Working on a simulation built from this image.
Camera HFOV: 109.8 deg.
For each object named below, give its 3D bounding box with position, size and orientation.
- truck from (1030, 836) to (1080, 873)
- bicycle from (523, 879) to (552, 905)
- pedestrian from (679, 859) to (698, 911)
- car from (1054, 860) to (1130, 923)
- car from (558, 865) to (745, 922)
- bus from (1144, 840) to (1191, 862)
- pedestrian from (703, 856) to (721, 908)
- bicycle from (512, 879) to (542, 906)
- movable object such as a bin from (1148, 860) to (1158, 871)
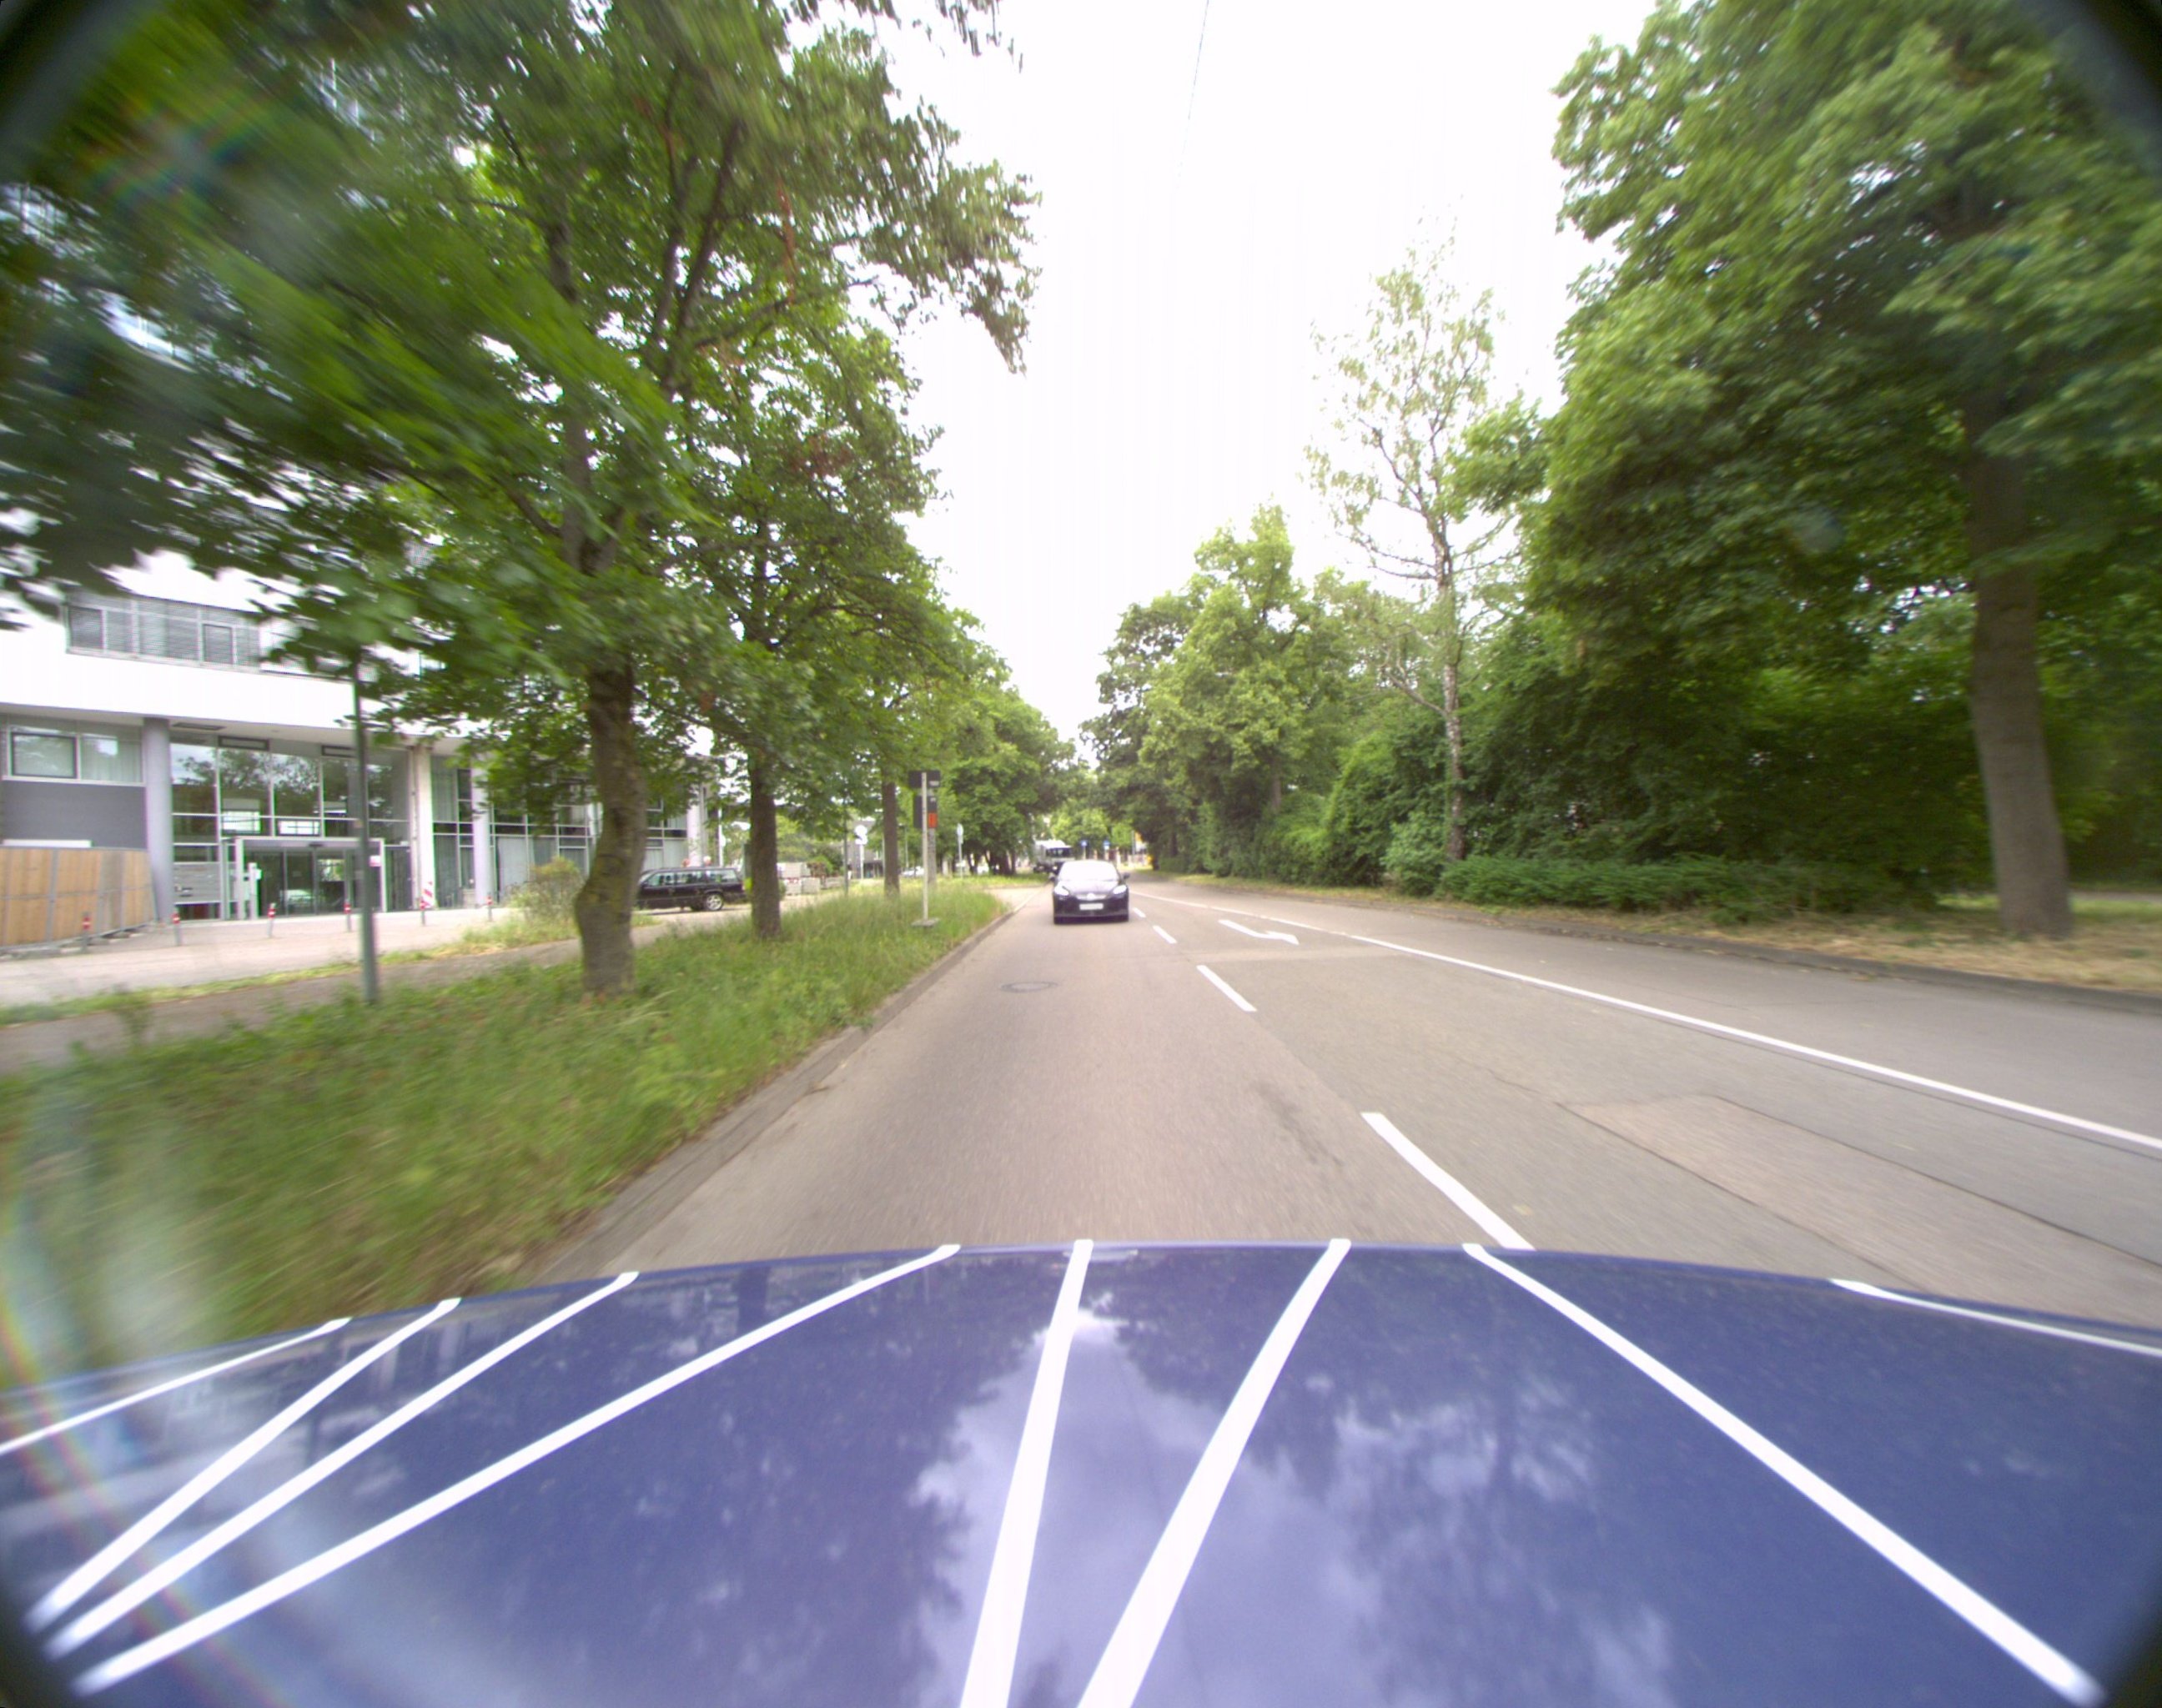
[{"bbox_3d":[-2.436,0.087,69.179,2.440,3.176,6.455,-3,0,-22],"label":"truck"},{"bbox_3d":[-23.375,1.632,32.663,1.397,1.066,0.393,-3,1,29],"label":"bicycle"},{"bbox_3d":[-13.106,1.035,25.371,0.499,1.714,0.535,1,-4,-30],"label":"pedestrian"},{"bbox_3d":[0.221,0.917,20.307,1.800,1.475,4.019,-1,0,-1],"label":"car"},{"bbox_3d":[-13.318,1.150,23.775,4.752,1.508,1.866,-1,0,-44],"label":"car"},{"bbox_3d":[14.708,-0.528,128.060,3.046,2.991,8.445,-6,-1,45],"label":"bus"},{"bbox_3d":[-12.614,0.969,25.958,0.475,1.743,0.583,1,-4,-30],"label":"pedestrian"},{"bbox_3d":[-23.367,1.627,32.031,1.397,1.066,0.393,-3,1,29],"label":"bicycle"},{"bbox_3d":[5.902,0.916,62.451,0.599,0.840,0.579,-6,-1,21],"label":"movable object such as a bin"}]
